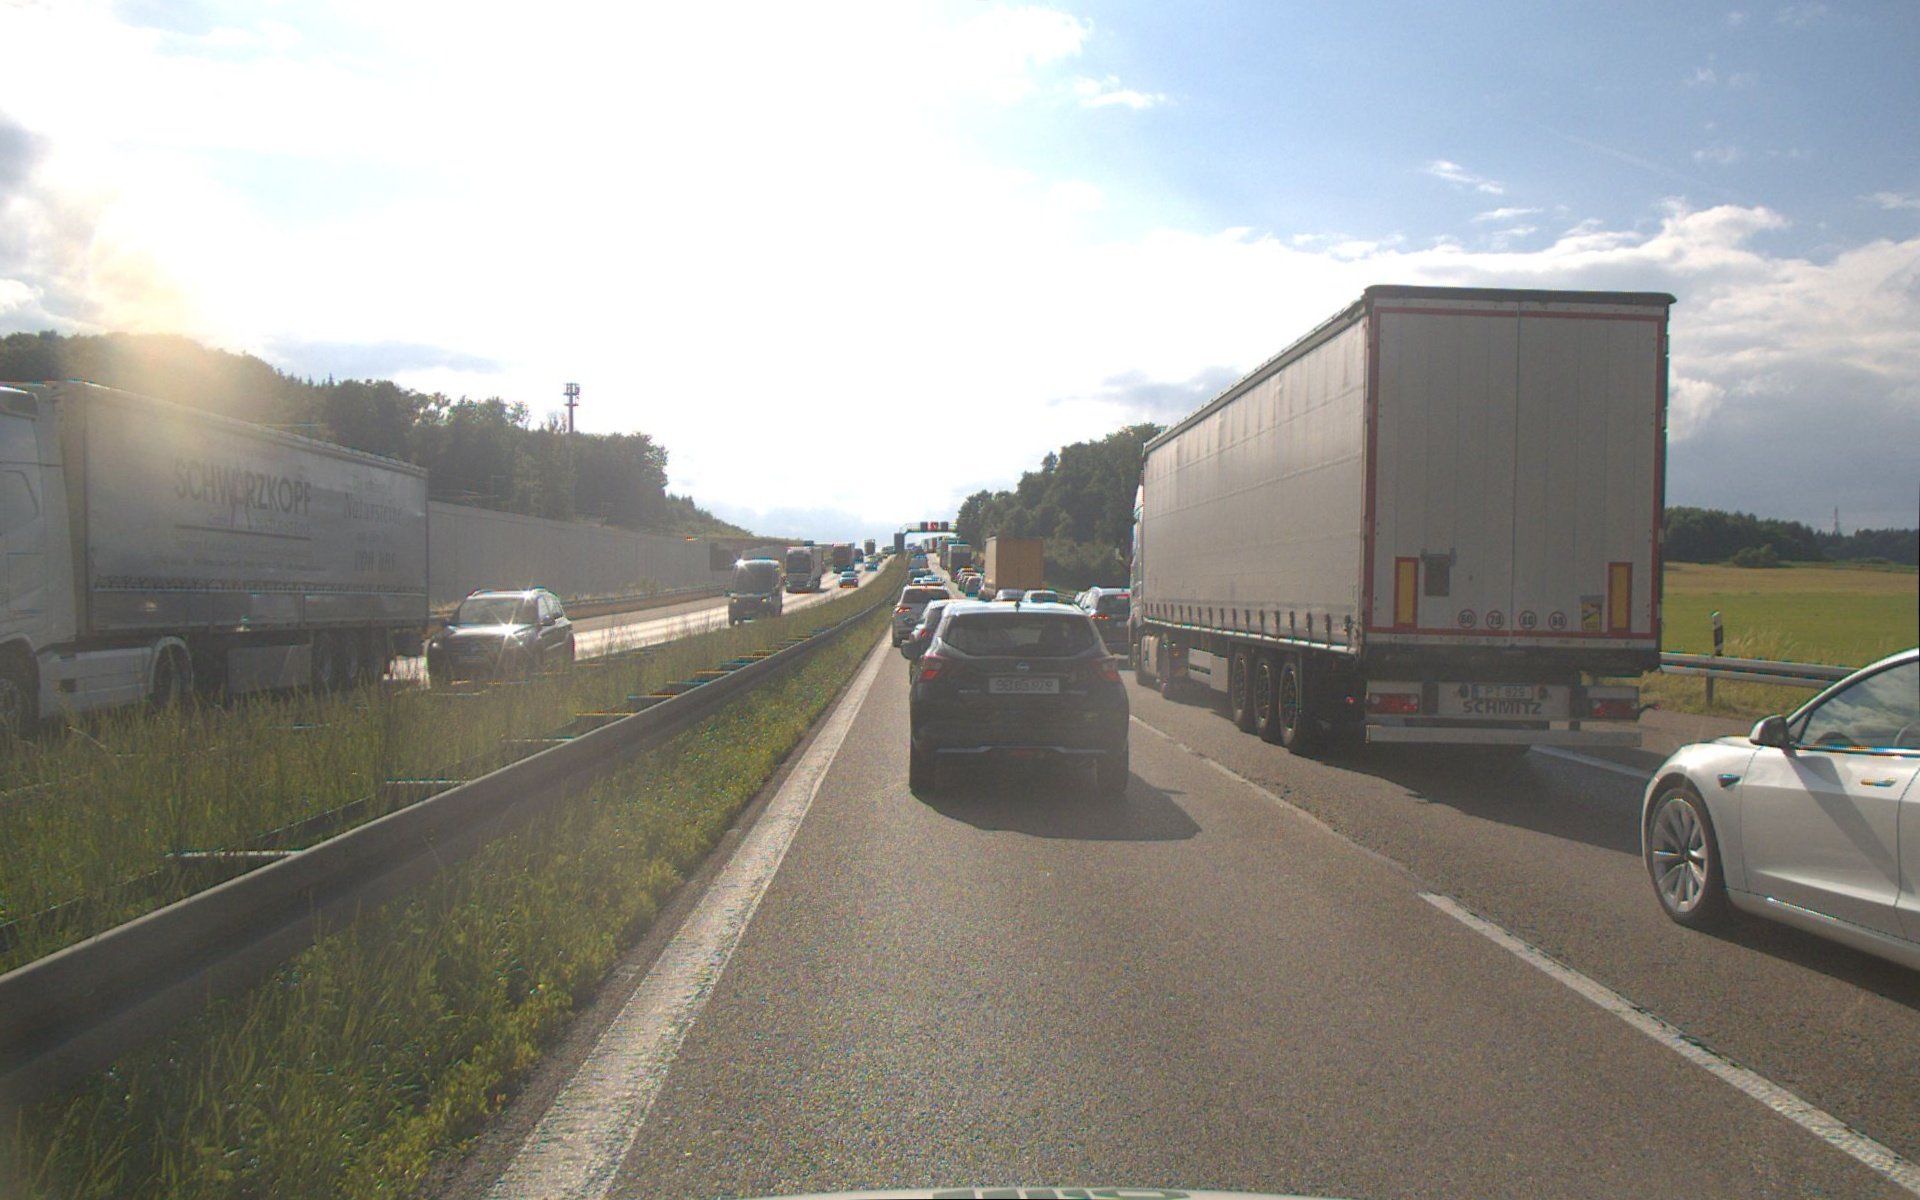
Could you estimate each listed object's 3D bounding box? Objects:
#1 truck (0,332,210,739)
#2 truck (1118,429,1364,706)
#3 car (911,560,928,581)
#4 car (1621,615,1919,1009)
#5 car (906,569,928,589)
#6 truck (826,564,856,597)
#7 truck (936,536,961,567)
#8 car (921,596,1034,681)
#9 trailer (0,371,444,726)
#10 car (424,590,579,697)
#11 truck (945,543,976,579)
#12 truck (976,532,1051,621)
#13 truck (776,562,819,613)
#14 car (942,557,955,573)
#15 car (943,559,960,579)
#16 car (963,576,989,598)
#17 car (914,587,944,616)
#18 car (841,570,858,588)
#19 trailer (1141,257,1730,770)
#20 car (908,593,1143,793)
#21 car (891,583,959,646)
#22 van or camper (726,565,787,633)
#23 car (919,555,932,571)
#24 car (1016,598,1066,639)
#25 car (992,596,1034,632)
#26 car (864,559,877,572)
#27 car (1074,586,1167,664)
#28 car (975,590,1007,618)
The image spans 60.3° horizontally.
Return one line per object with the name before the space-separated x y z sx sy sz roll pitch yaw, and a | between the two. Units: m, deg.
truck | -11.261 -0.658 19.388 2.332 4.254 5.930 -1 0 -2
truck | 4.434 -0.448 27.214 3.070 4.086 5.162 1 -1 -1
car | -4.584 -3.376 187.296 1.835 2.196 5.211 0 3 -2
car | 4.386 0.796 6.310 1.753 1.418 4.434 0 0 -3
car | -3.687 -1.798 142.559 1.836 1.673 4.231 0 1 -2
truck | -17.059 -2.769 237.637 3.229 4.634 12.441 0 0 0
truck | -1.864 -7.683 264.389 3.395 4.657 12.435 1 1 -3
car | 0.241 0.630 28.934 1.835 1.381 4.231 0 0 -1
trailer | -11.404 -0.591 26.513 2.341 4.255 13.200 -1 0 -1
car | -7.887 0.713 28.818 1.674 1.736 4.171 0 0 -2
truck | 0.027 -5.126 218.494 3.395 4.657 12.435 1 1 -3
truck | 2.885 -1.179 93.572 3.231 4.657 12.433 1 -1 -3
truck | -15.370 -1.150 157.552 3.230 4.657 12.437 0 0 -2
car | -1.674 -5.223 247.760 1.835 2.196 5.211 0 3 -2
car | -1.016 -3.595 193.001 1.835 2.196 5.211 0 3 -2
car | 1.307 -1.080 135.844 1.836 1.673 4.229 0 1 -5
car | -1.946 0.073 103.171 1.835 1.673 4.232 0 1 -1
car | -11.259 -2.098 168.649 1.709 1.735 4.229 1 -1 -3
trailer | 4.561 -0.573 19.955 3.067 4.081 13.362 1 -1 -1
car | 0.444 0.694 14.353 1.737 1.476 4.231 0 0 -1
car | -0.985 0.402 46.399 1.835 1.673 4.231 0 0 -1
van or camper | -8.924 -0.005 73.061 2.048 2.869 5.893 1 -1 -2
car | -5.133 -5.438 244.619 1.835 2.196 5.211 0 3 -2
car | 3.416 0.793 70.473 1.835 1.673 4.231 0 0 -1
car | 2.552 0.669 80.858 1.835 1.673 4.231 0 0 -1
car | -13.165 -5.079 243.968 1.708 1.735 4.231 1 1 -1
car | 3.570 0.539 37.427 1.663 1.639 4.436 0 0 0
car | 1.956 0.233 104.635 1.835 1.673 4.231 0 0 -2
